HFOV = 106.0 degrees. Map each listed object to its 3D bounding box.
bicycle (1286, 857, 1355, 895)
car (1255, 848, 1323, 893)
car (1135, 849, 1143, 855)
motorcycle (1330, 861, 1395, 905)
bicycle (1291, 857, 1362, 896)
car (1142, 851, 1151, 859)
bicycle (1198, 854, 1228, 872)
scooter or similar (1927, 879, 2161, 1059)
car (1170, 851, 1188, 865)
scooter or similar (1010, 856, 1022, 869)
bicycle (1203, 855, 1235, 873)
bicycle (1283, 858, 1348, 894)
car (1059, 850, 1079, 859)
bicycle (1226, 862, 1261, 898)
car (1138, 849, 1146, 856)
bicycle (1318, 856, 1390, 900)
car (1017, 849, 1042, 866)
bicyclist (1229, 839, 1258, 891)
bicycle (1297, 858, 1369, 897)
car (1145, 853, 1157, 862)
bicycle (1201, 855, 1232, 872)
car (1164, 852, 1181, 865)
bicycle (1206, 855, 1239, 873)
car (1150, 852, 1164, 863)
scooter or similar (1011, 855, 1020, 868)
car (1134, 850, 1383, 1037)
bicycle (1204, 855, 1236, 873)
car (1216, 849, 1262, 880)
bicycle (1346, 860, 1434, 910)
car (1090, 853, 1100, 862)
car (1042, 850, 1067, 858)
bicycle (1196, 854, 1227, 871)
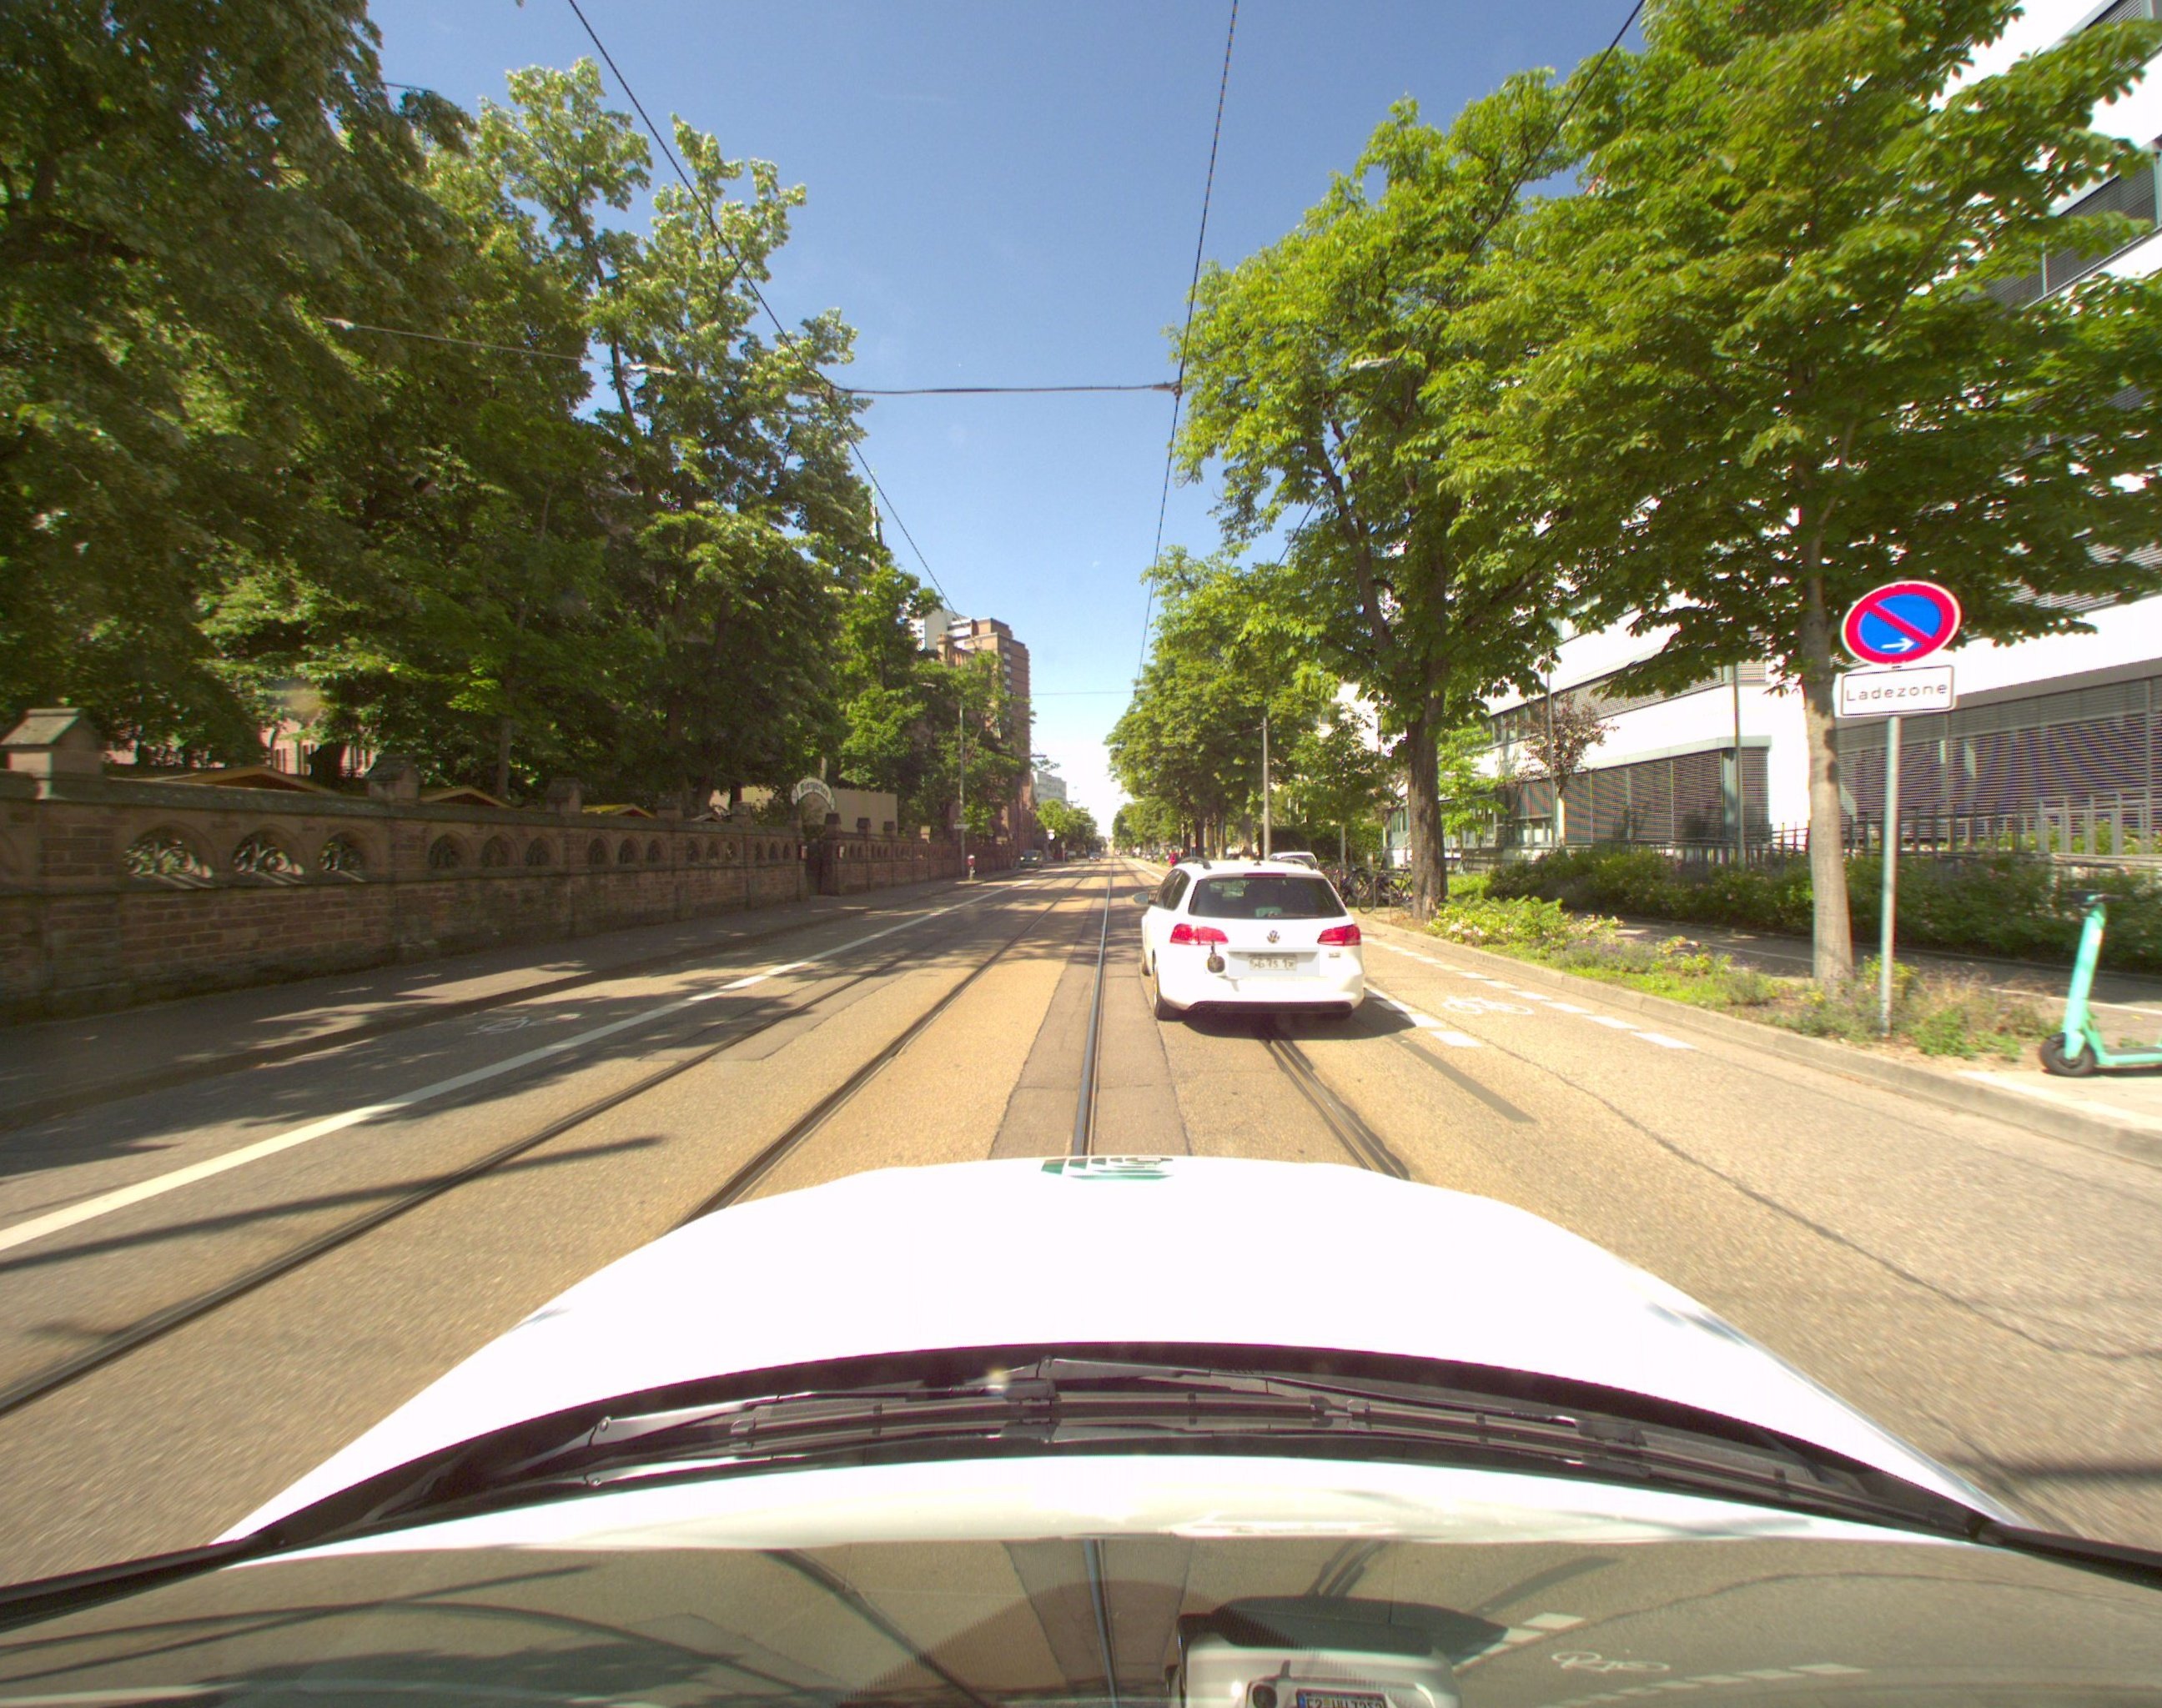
[{"bbox_3d":[7.266,0.664,24.763,1.905,1.083,0.550,2,0,-1],"label":"bicycle"},{"bbox_3d":[7.409,0.543,29.305,1.584,1.451,3.949,-1,0,3],"label":"car"},{"bbox_3d":[13.899,-0.453,195.563,1.706,1.401,3.846,-1,0,3],"label":"car"},{"bbox_3d":[7.139,0.729,20.707,1.461,1.046,0.534,-1,0,-1],"label":"motorcycle"},{"bbox_3d":[7.263,0.661,24.150,1.905,1.083,0.550,2,0,-1],"label":"bicycle"},{"bbox_3d":[12.483,0.248,155.327,1.706,1.401,3.846,-1,0,3],"label":"car"},{"bbox_3d":[8.120,0.543,50.084,1.783,1.010,0.487,-1,0,-3],"label":"bicycle"},{"bbox_3d":[6.688,0.763,5.609,1.136,1.154,0.494,-1,0,8],"label":"scooter or similar"},{"bbox_3d":[9.731,0.419,80.583,1.704,1.280,3.850,-1,0,6],"label":"car"},{"bbox_3d":[-5.878,0.786,73.259,0.400,1.155,1.150,-1,0,36],"label":"scooter or similar"},{"bbox_3d":[8.147,0.567,48.226,1.783,1.010,0.487,-1,0,-3],"label":"bicycle"},{"bbox_3d":[7.308,0.676,25.405,1.880,1.083,0.550,1,0,-1],"label":"bicycle"},{"bbox_3d":[-2.694,0.176,181.832,4.015,1.816,1.979,-1,0,-34],"label":"car"},{"bbox_3d":[5.179,0.816,26.104,0.807,1.078,2.013,-1,0,3],"label":"bicycle"},{"bbox_3d":[13.088,-0.318,175.086,1.706,1.401,3.846,-1,0,3],"label":"car"},{"bbox_3d":[7.456,0.650,22.296,1.768,1.120,0.596,-1,0,-1],"label":"bicycle"},{"bbox_3d":[-5.634,0.407,89.499,1.984,1.757,4.718,-1,0,5],"label":"car"},{"bbox_3d":[5.219,0.359,26.223,0.782,1.629,0.738,-1,0,2],"label":"bicyclist"},{"bbox_3d":[7.280,0.669,23.550,1.905,1.083,0.550,1,0,-1],"label":"bicycle"},{"bbox_3d":[11.140,0.493,129.851,1.707,1.401,3.845,-1,0,2],"label":"car"},{"bbox_3d":[8.126,0.559,48.810,1.783,1.010,0.487,-1,0,-3],"label":"bicycle"},{"bbox_3d":[10.125,0.482,90.432,1.705,1.401,3.847,-1,0,4],"label":"car"},{"bbox_3d":[8.156,0.581,47.065,1.783,1.010,0.487,-1,0,-3],"label":"bicycle"},{"bbox_3d":[10.451,0.482,112.130,1.706,1.401,3.846,-1,0,3],"label":"car"},{"bbox_3d":[-6.175,0.738,76.569,0.419,1.200,1.148,-1,0,17],"label":"scooter or similar"},{"bbox_3d":[1.525,0.702,8.554,1.747,1.442,4.414,-1,0,1],"label":"car"},{"bbox_3d":[8.149,0.574,47.649,1.783,1.010,0.487,-1,0,-3],"label":"bicycle"},{"bbox_3d":[7.954,0.498,41.299,1.657,1.444,4.637,-1,0,3],"label":"car"},{"bbox_3d":[7.021,0.696,18.557,1.768,1.083,0.596,-1,0,-1],"label":"bicycle"},{"bbox_3d":[2.281,0.514,130.231,1.487,1.384,3.646,-1,0,3],"label":"car"},{"bbox_3d":[-4.808,-0.003,148.501,4.130,1.530,1.920,1,1,-19],"label":"car"},{"bbox_3d":[8.103,0.537,50.605,1.783,1.010,0.487,-1,0,-3],"label":"bicycle"}]
